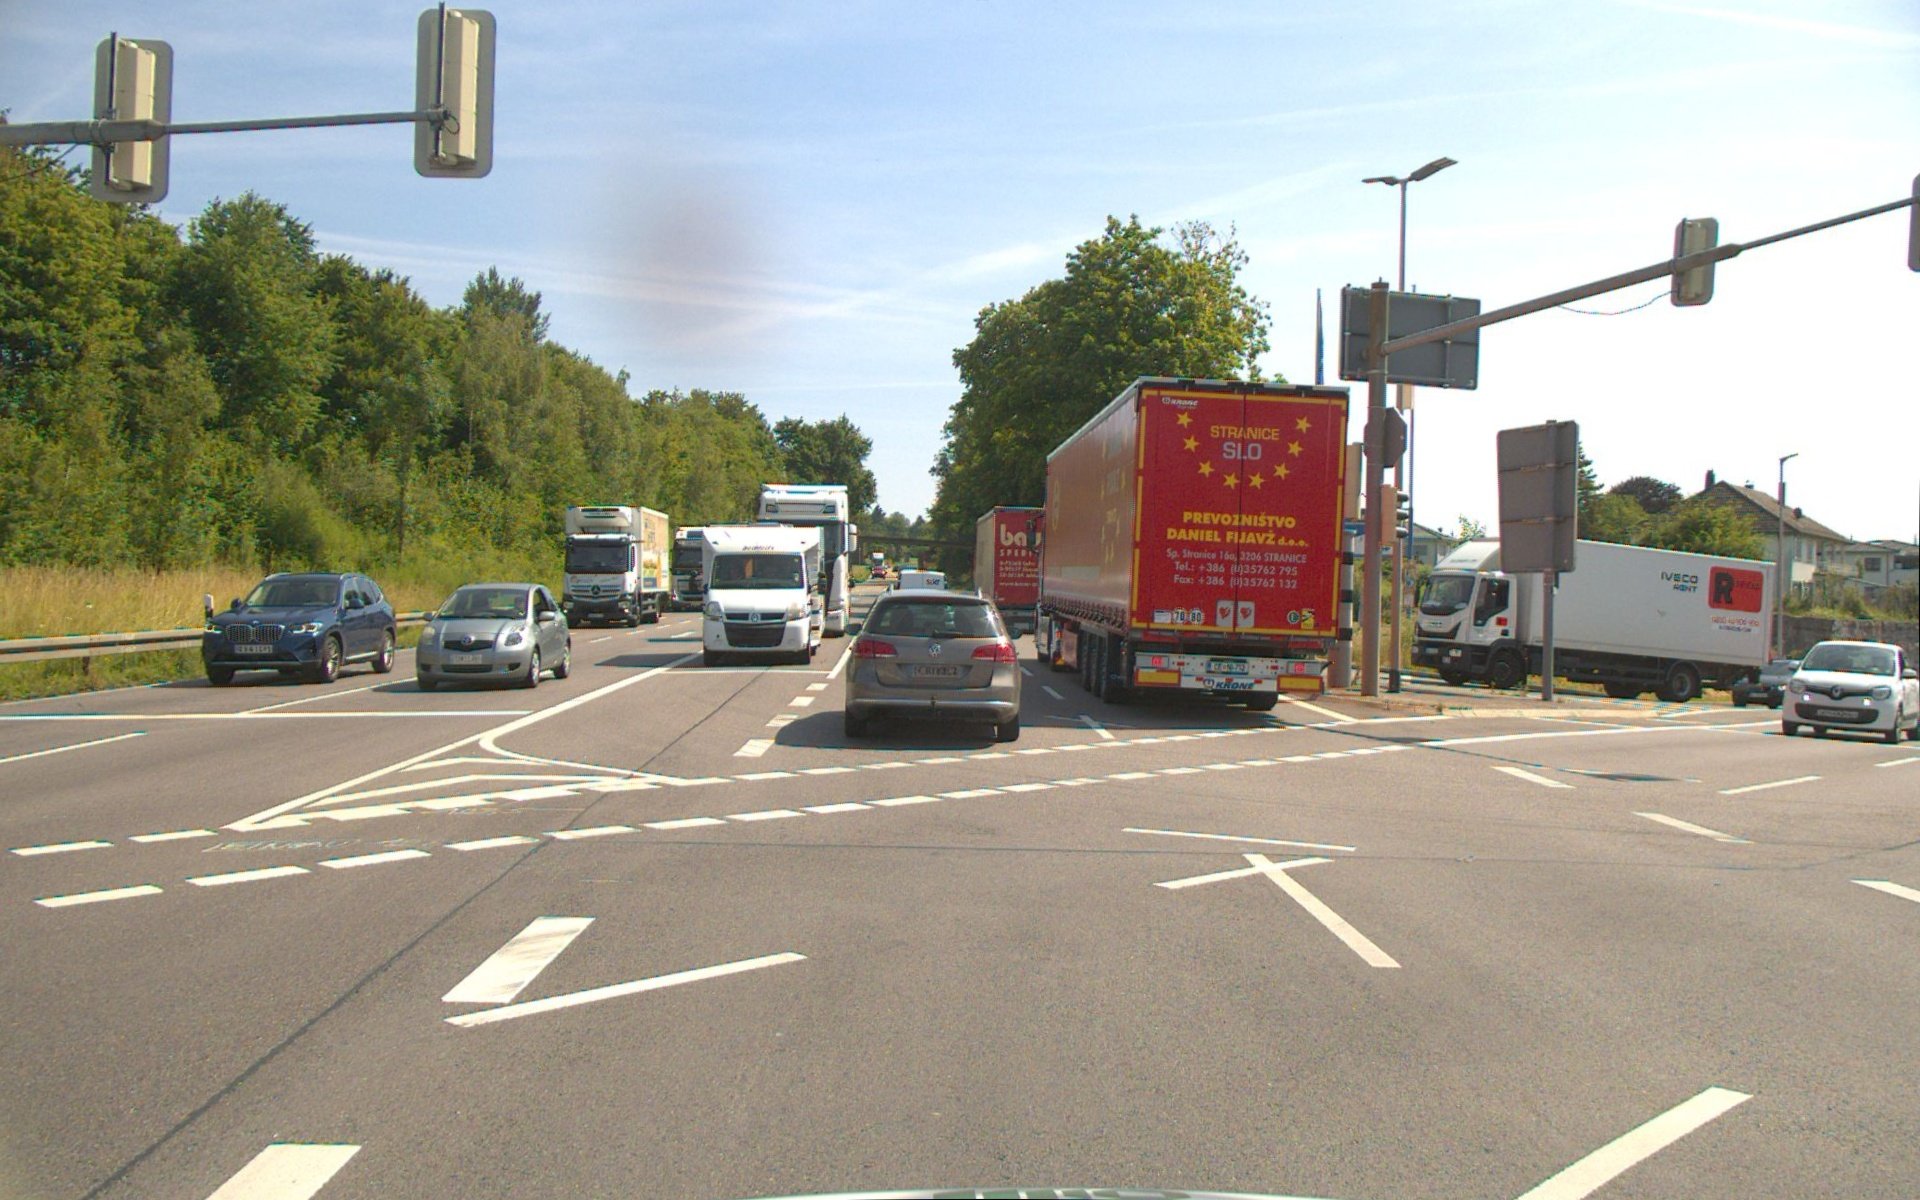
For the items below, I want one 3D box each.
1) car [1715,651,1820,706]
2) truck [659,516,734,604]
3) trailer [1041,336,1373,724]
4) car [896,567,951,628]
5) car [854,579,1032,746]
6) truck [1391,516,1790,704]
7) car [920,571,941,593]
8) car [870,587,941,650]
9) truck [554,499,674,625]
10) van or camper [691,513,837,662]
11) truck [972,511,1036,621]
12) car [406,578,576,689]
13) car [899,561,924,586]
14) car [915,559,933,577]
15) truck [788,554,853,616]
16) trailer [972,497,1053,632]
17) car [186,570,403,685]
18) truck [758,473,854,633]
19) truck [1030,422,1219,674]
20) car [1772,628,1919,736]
[{"bbox_3d":[23.644,2.258,48.364,1.961,1.486,4.302,0,-1,37],"label":"car"},{"bbox_3d":[-13.160,-1.942,83.370,2.773,4.188,9.676,0,0,-3],"label":"truck"},{"bbox_3d":[3.213,-0.879,25.929,2.782,4.441,13.164,2,0,-1],"label":"trailer"},{"bbox_3d":[-1.244,-0.086,55.488,1.735,1.970,3.975,0,0,-3],"label":"car"},{"bbox_3d":[-0.252,0.560,17.371,1.657,1.539,3.998,0,0,-3],"label":"car"},{"bbox_3d":[15.647,0.313,40.932,9.525,3.691,2.752,5,-1,-19],"label":"truck"},{"bbox_3d":[-2.810,-1.667,156.699,1.954,2.049,3.998,0,0,-3],"label":"car"},{"bbox_3d":[-1.435,0.431,42.549,1.735,1.539,3.998,0,0,-3],"label":"car"},{"bbox_3d":[-12.030,-1.261,58.327,2.674,4.069,9.615,0,0,-3],"label":"truck"},{"bbox_3d":[-3.742,-0.260,32.898,2.283,2.645,6.976,0,0,-2],"label":"van or camper"},{"bbox_3d":[1.692,-1.314,65.954,2.357,4.200,5.520,0,0,-1],"label":"truck"},{"bbox_3d":[-6.969,0.447,24.949,1.691,1.528,3.996,0,0,-5],"label":"car"},{"bbox_3d":[-4.012,-2.180,135.602,1.954,2.049,3.998,0,0,-3],"label":"car"},{"bbox_3d":[-4.192,-3.654,190.832,1.954,2.049,3.998,0,0,-3],"label":"car"},{"bbox_3d":[-5.343,-0.580,64.136,2.182,2.307,6.497,0,0,-2],"label":"truck"},{"bbox_3d":[1.720,-1.195,59.378,2.346,4.317,13.076,0,0,-1],"label":"trailer"},{"bbox_3d":[-10.584,0.387,26.663,1.954,1.706,4.305,0,0,-3],"label":"car"},{"bbox_3d":[-4.215,-1.259,46.278,2.487,4.159,6.261,0,0,-4],"label":"truck"},{"bbox_3d":[3.036,-0.942,32.170,2.812,4.355,5.837,2,0,-2],"label":"truck"},{"bbox_3d":[14.498,1.322,26.782,1.678,1.530,3.739,3,-1,37],"label":"car"}]
